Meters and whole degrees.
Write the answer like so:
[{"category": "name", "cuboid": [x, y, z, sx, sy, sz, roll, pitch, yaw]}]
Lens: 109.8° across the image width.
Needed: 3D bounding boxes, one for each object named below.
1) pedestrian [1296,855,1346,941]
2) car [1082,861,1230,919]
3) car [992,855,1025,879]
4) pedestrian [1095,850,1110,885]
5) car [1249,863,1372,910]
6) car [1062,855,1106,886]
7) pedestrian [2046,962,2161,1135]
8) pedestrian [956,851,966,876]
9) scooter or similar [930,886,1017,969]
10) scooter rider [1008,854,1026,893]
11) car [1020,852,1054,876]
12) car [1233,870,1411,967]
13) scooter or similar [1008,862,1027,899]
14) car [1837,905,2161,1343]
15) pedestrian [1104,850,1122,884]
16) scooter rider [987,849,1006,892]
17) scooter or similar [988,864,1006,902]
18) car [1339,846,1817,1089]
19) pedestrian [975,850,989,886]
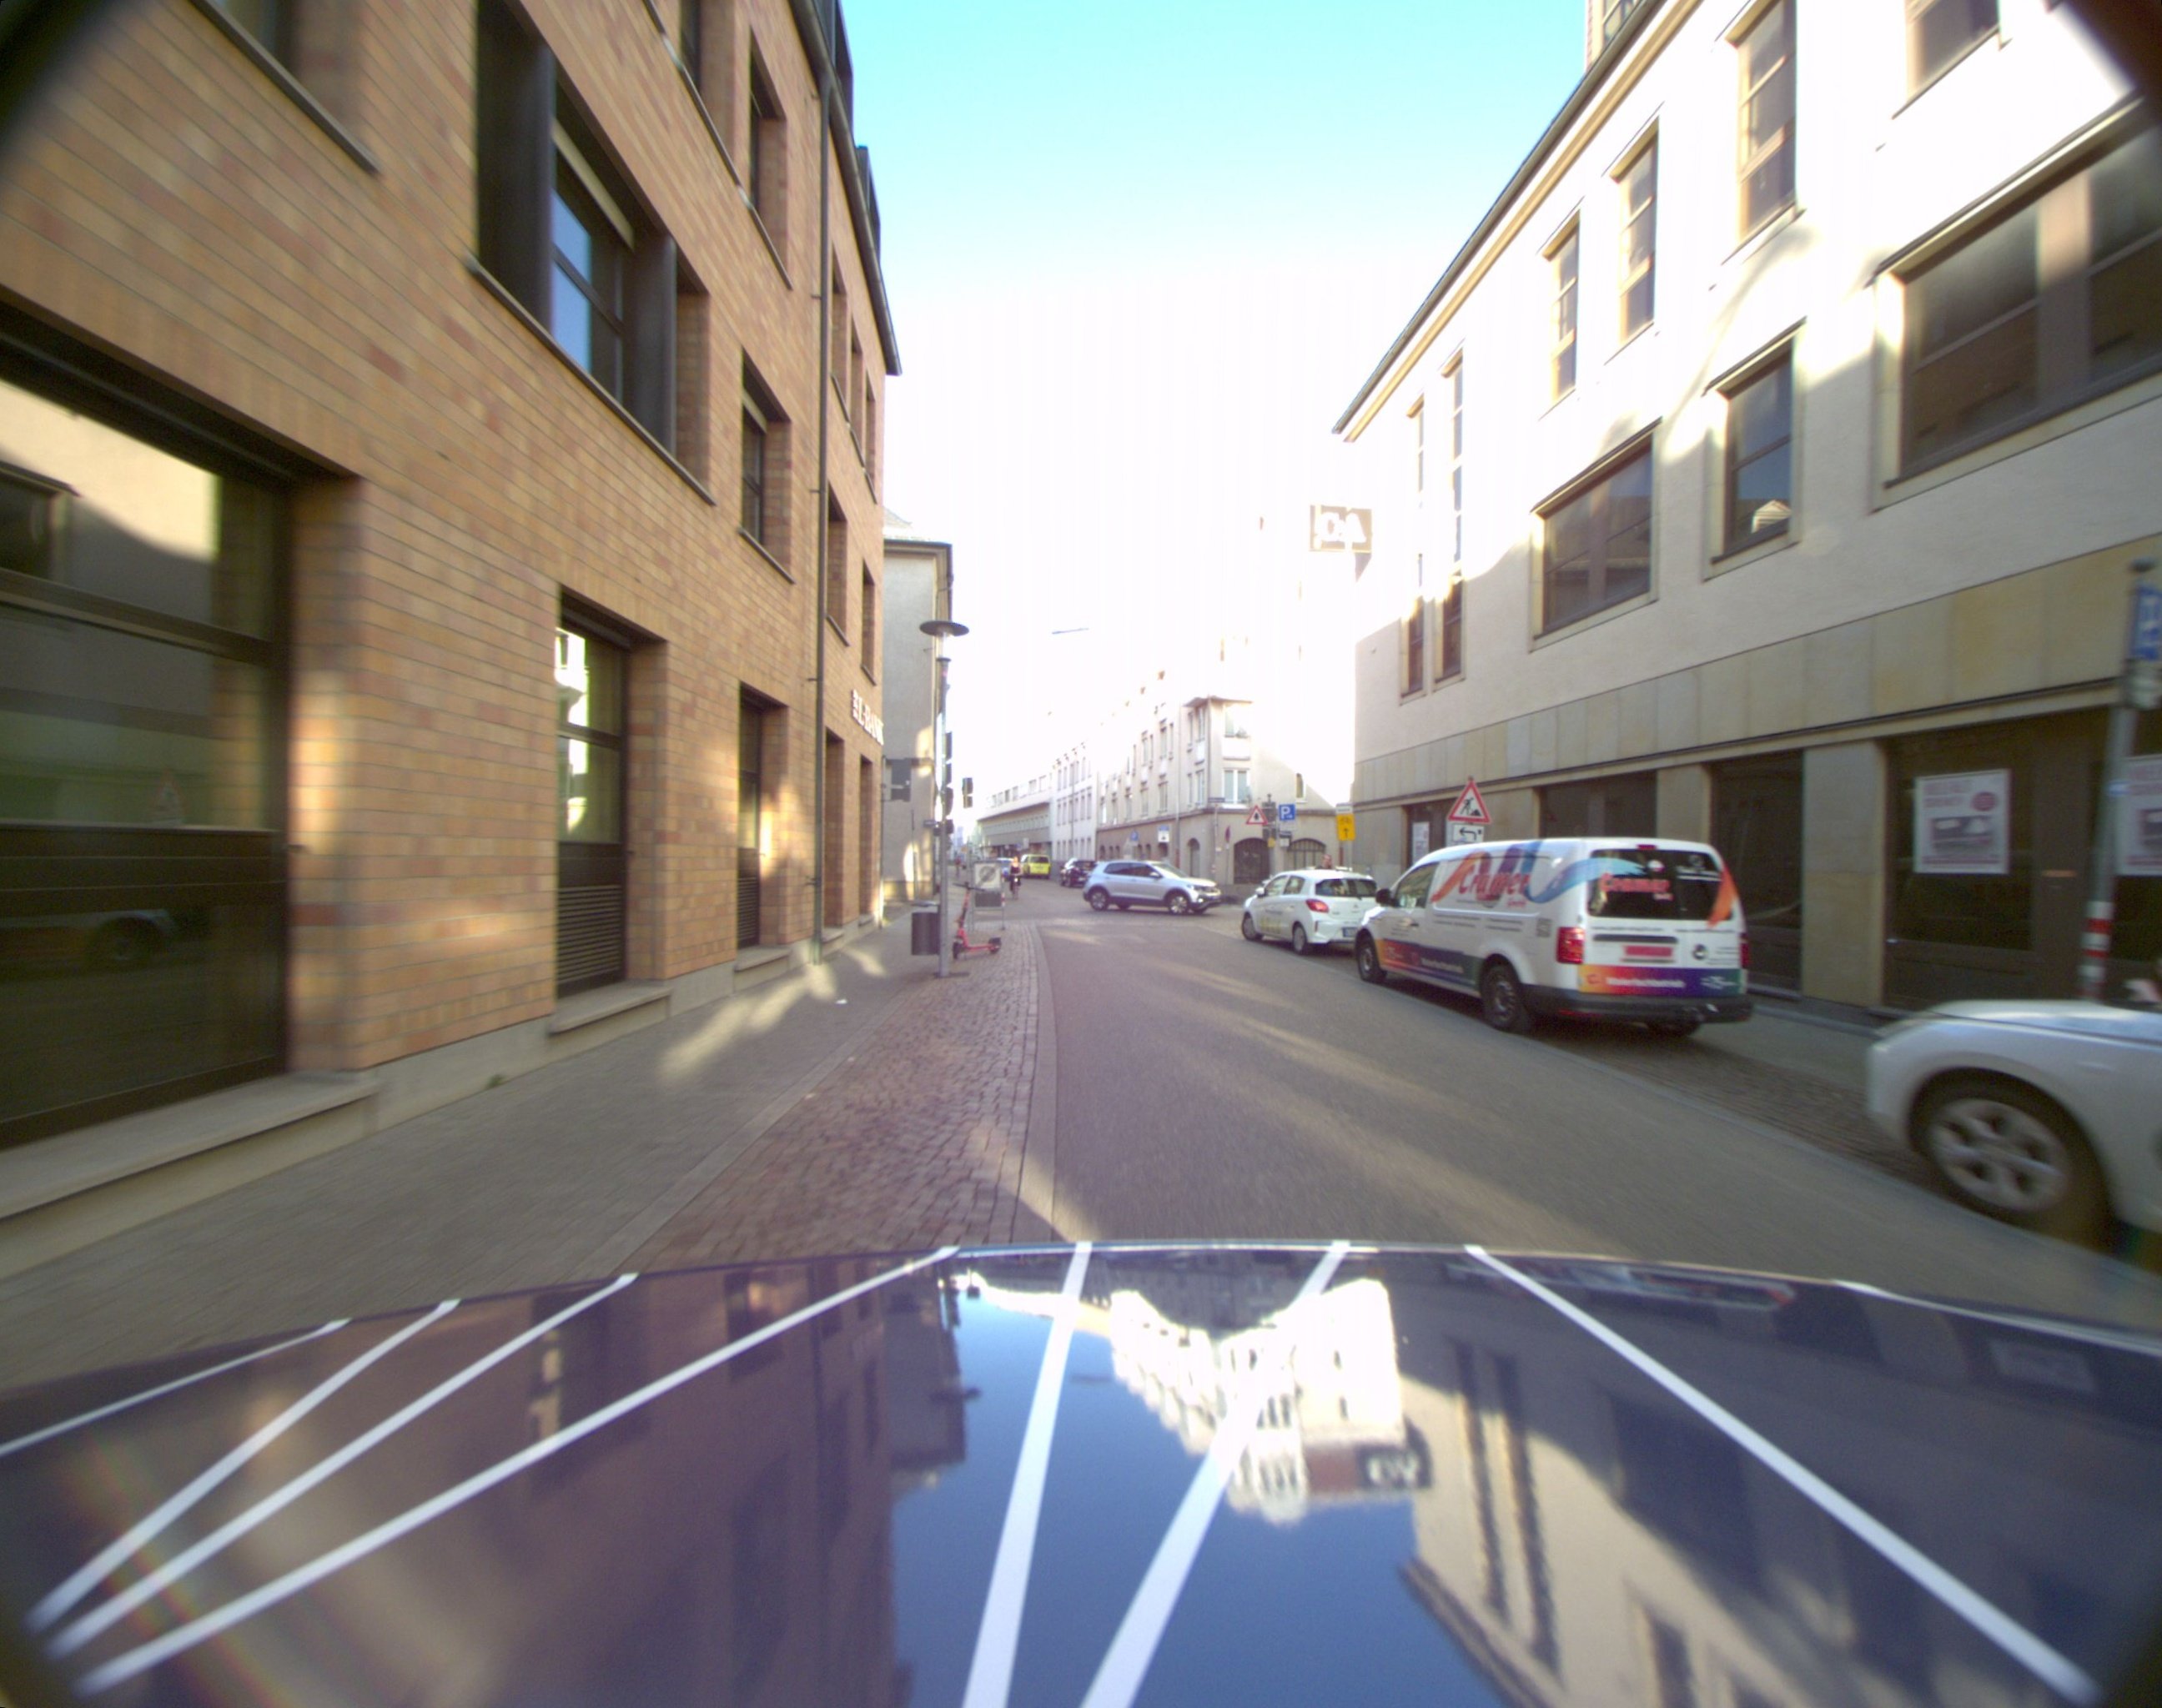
[{"category": "pedestrian", "cuboid": [5.343, 0.964, 16.973, 0.716, 1.844, 0.861, 2, 1, -5]}, {"category": "car", "cuboid": [2.204, 0.989, 22.609, 3.988, 1.537, 1.768, 0, 0, 33]}, {"category": "car", "cuboid": [-5.140, 0.938, 53.485, 1.857, 1.583, 3.803, 1, -2, -12]}, {"category": "pedestrian", "cuboid": [1.250, 0.784, 44.817, 0.716, 2.002, 0.698, 1, 0, -12]}, {"category": "car", "cuboid": [8.445, 1.179, 28.114, 3.968, 1.584, 1.742, 1, 1, -4]}, {"category": "car", "cuboid": [0.129, 0.930, 43.808, 1.890, 1.694, 3.996, 1, 0, -9]}, {"category": "pedestrian", "cuboid": [7.220, 1.289, 5.125, 0.657, 1.029, 0.617, 0, 0, -6]}, {"category": "pedestrian", "cuboid": [-9.438, 0.756, 59.820, 0.716, 2.002, 0.698, 1, 0, -12]}, {"category": "scooter or similar", "cuboid": [-1.725, 1.153, 12.324, 0.537, 1.228, 1.422, -1, 0, 37]}, {"category": "scooter rider", "cuboid": [-2.530, 0.757, 29.933, 0.592, 1.500, 0.599, -2, 1, -11]}, {"category": "car", "cuboid": [-3.534, 0.764, 60.357, 1.890, 1.863, 3.994, 1, 0, -14]}, {"category": "car", "cuboid": [4.345, 1.104, 14.374, 1.742, 1.483, 3.797, 2, 0, -7]}, {"category": "scooter or similar", "cuboid": [-2.502, 1.033, 29.916, 0.550, 1.388, 1.554, 1, 0, -11]}, {"category": "car", "cuboid": [4.820, 1.054, 2.028, 1.674, 1.513, 3.774, 3, 0, -3]}, {"category": "pedestrian", "cuboid": [1.924, 0.784, 45.431, 0.938, 2.002, 0.698, 1, 0, -12]}, {"category": "scooter rider", "cuboid": [-3.185, 0.626, 28.611, 0.648, 1.584, 0.599, -2, 1, -11]}, {"category": "scooter or similar", "cuboid": [-3.181, 1.071, 28.726, 0.524, 1.388, 1.554, 1, 0, -11]}, {"category": "car", "cuboid": [4.693, 0.898, 8.289, 1.904, 1.847, 4.732, 2, 0, -3]}, {"category": "pedestrian", "cuboid": [-5.700, 0.801, 43.836, 0.716, 2.002, 0.698, 1, 0, -12]}]
